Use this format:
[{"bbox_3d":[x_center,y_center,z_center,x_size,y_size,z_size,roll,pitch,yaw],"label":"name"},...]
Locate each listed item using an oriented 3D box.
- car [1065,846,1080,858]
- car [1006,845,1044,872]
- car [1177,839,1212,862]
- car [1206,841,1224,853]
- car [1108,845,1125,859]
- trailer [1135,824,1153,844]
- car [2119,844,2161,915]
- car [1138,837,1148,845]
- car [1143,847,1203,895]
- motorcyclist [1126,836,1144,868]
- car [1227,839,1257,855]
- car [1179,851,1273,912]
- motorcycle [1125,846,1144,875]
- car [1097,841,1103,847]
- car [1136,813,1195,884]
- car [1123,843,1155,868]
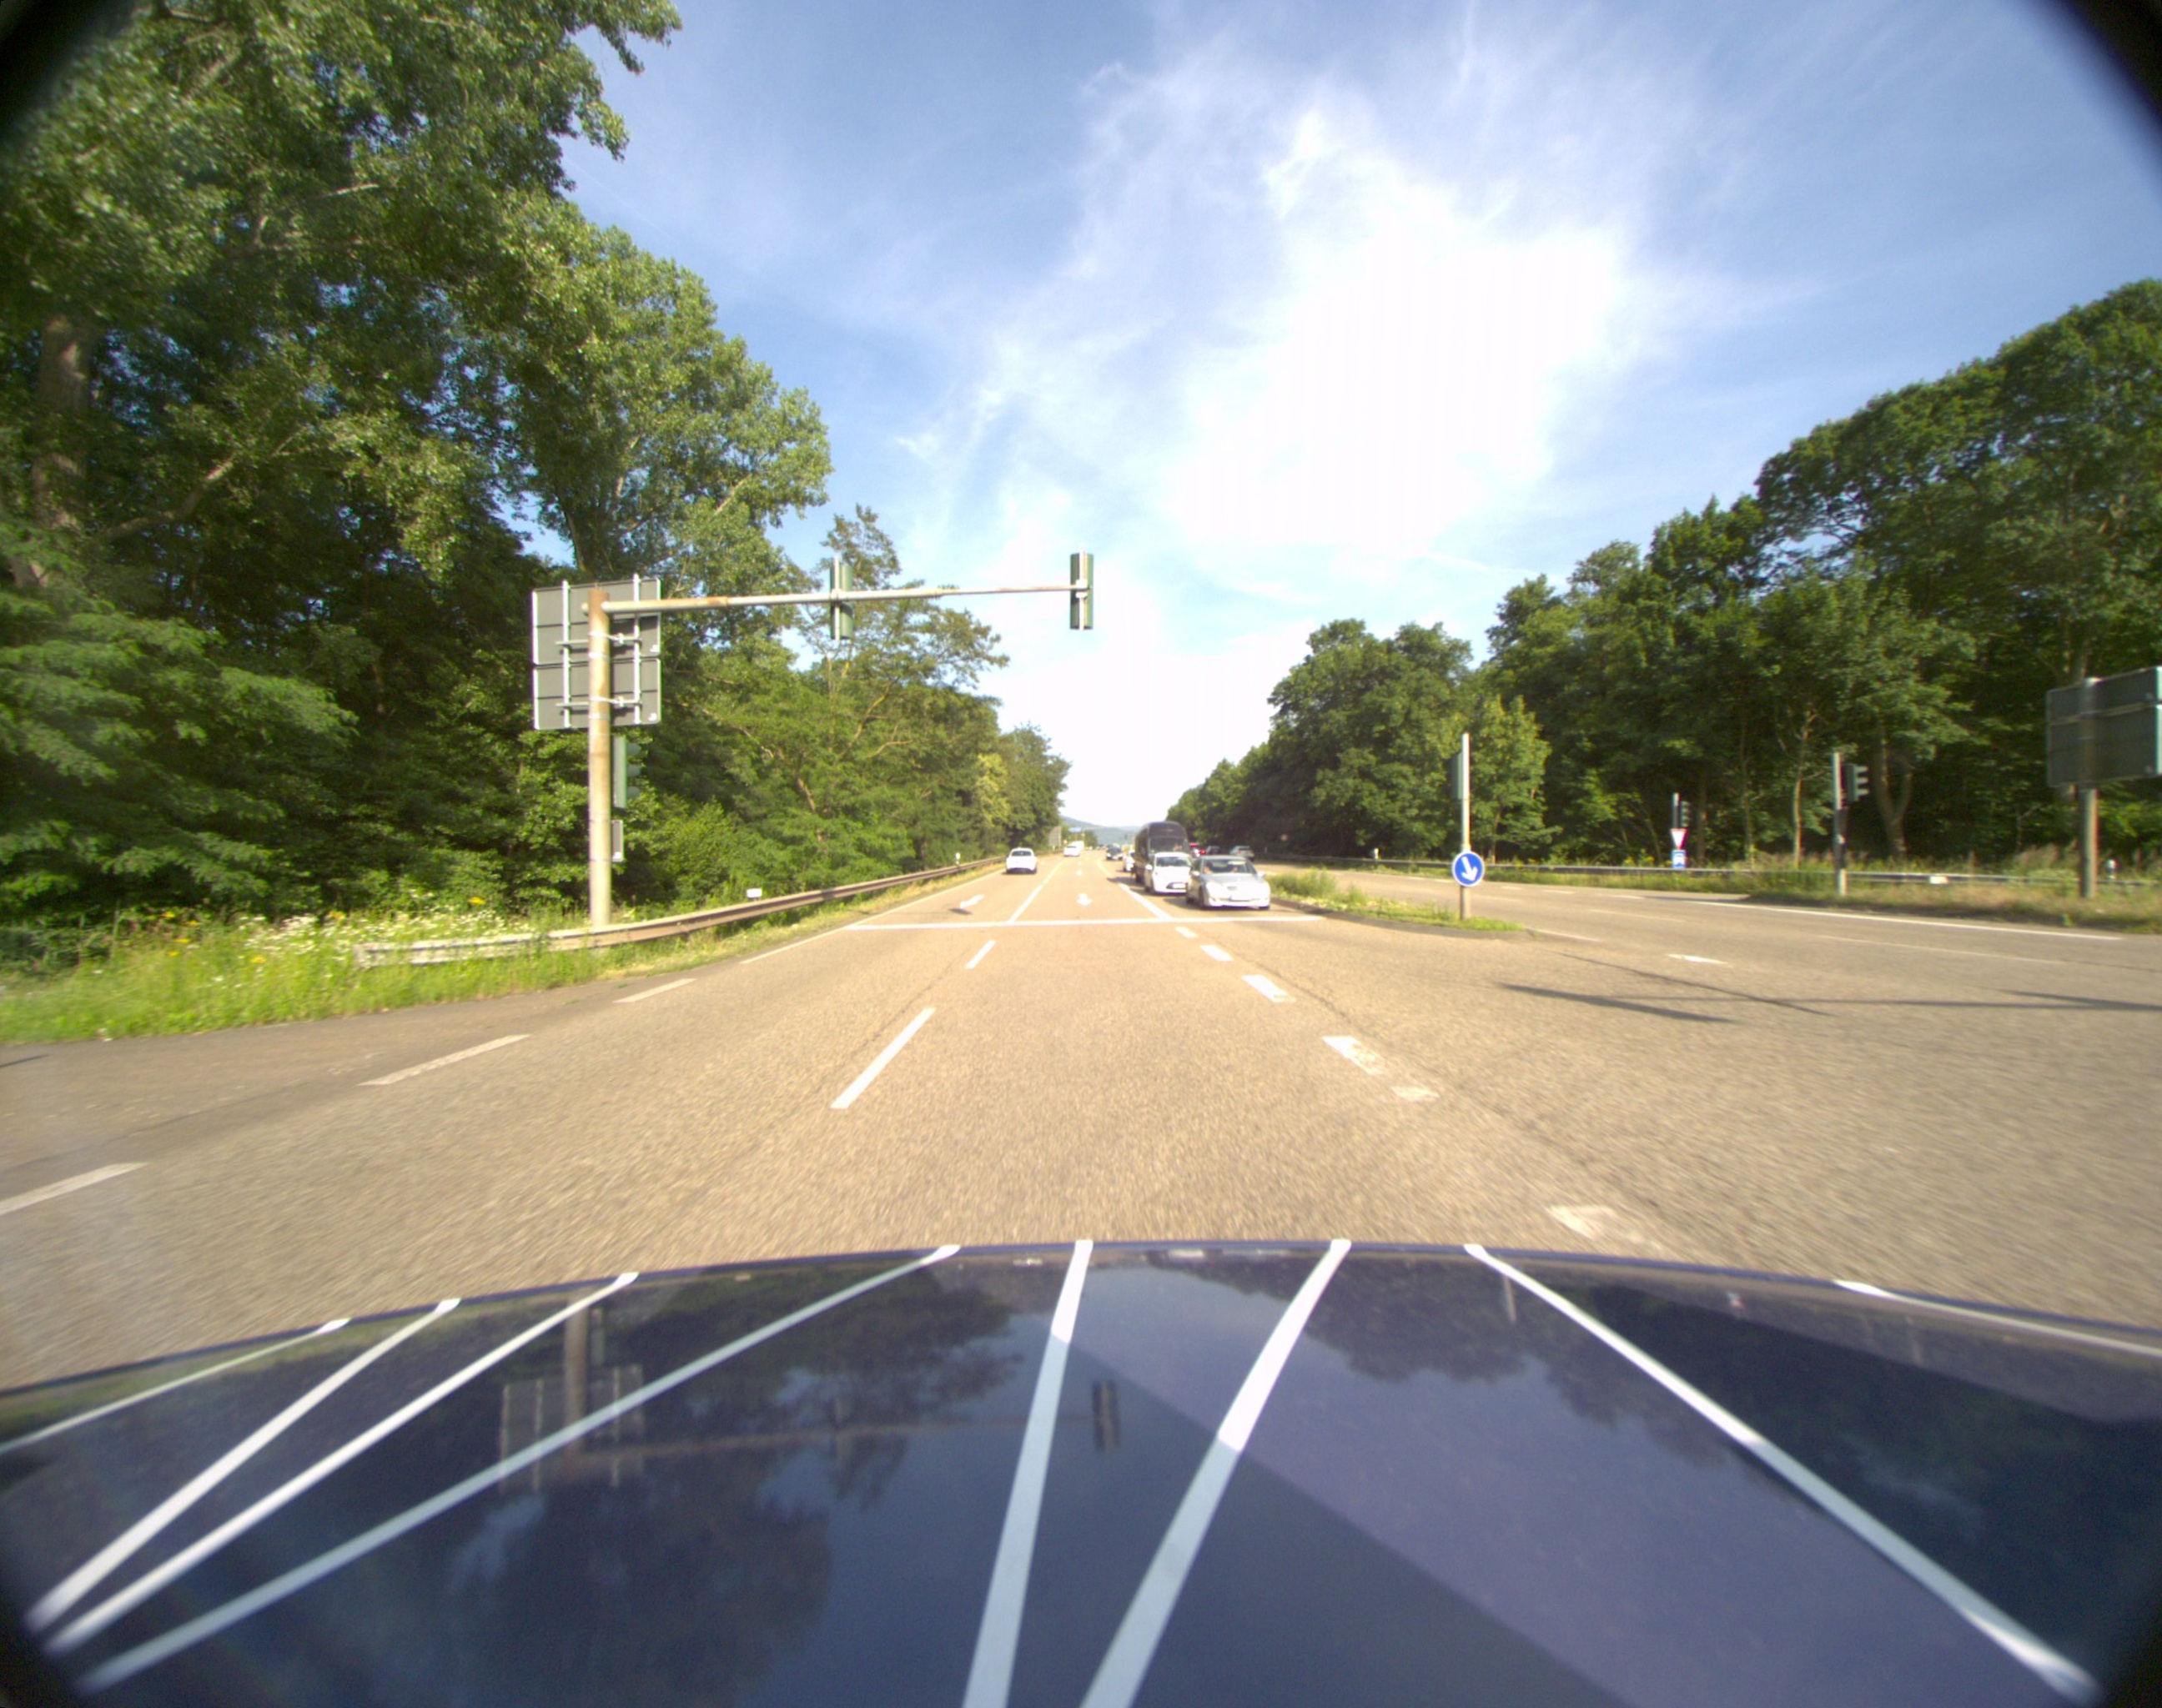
[{"bbox_3d":[-1.253,-0.278,109.981,1.998,1.633,3.999,-2,1,0],"label":"car"},{"bbox_3d":[-3.457,0.236,47.771,1.874,1.625,4.833,0,1,1],"label":"car"},{"bbox_3d":[8.931,-0.316,60.180,2.081,1.753,4.755,1,1,0],"label":"car"},{"bbox_3d":[17.859,-0.909,101.483,1.720,1.495,3.976,1,1,1],"label":"car"},{"bbox_3d":[4.043,-0.290,87.448,1.861,1.453,4.569,-2,1,2],"label":"car"},{"bbox_3d":[13.698,-4.304,165.597,2.999,3.973,14.012,-2,1,2],"label":"trailer"},{"bbox_3d":[25.353,0.502,15.479,4.550,1.482,2.003,-2,1,31],"label":"car"},{"bbox_3d":[12.669,-2.750,155.612,1.704,1.622,4.370,0,1,2],"label":"car"},{"bbox_3d":[3.145,0.532,26.628,1.649,1.481,4.103,0,1,1],"label":"car"},{"bbox_3d":[2.847,-0.127,39.960,0.885,1.607,1.290,-2,1,5],"label":"motorcyclist"},{"bbox_3d":[15.821,-0.674,74.915,1.889,1.495,4.262,1,1,-3],"label":"car"},{"bbox_3d":[3.842,0.654,20.890,1.739,1.413,4.801,0,1,1],"label":"car"},{"bbox_3d":[2.839,0.303,39.984,0.910,1.445,2.689,2,1,5],"label":"motorcycle"},{"bbox_3d":[5.148,-2.653,202.572,1.498,1.346,3.553,-2,1,0],"label":"car"},{"bbox_3d":[3.672,-0.269,34.345,2.215,2.872,7.011,0,1,3],"label":"car"},{"bbox_3d":[3.828,0.064,50.803,1.874,1.513,4.833,-2,1,1],"label":"car"}]
